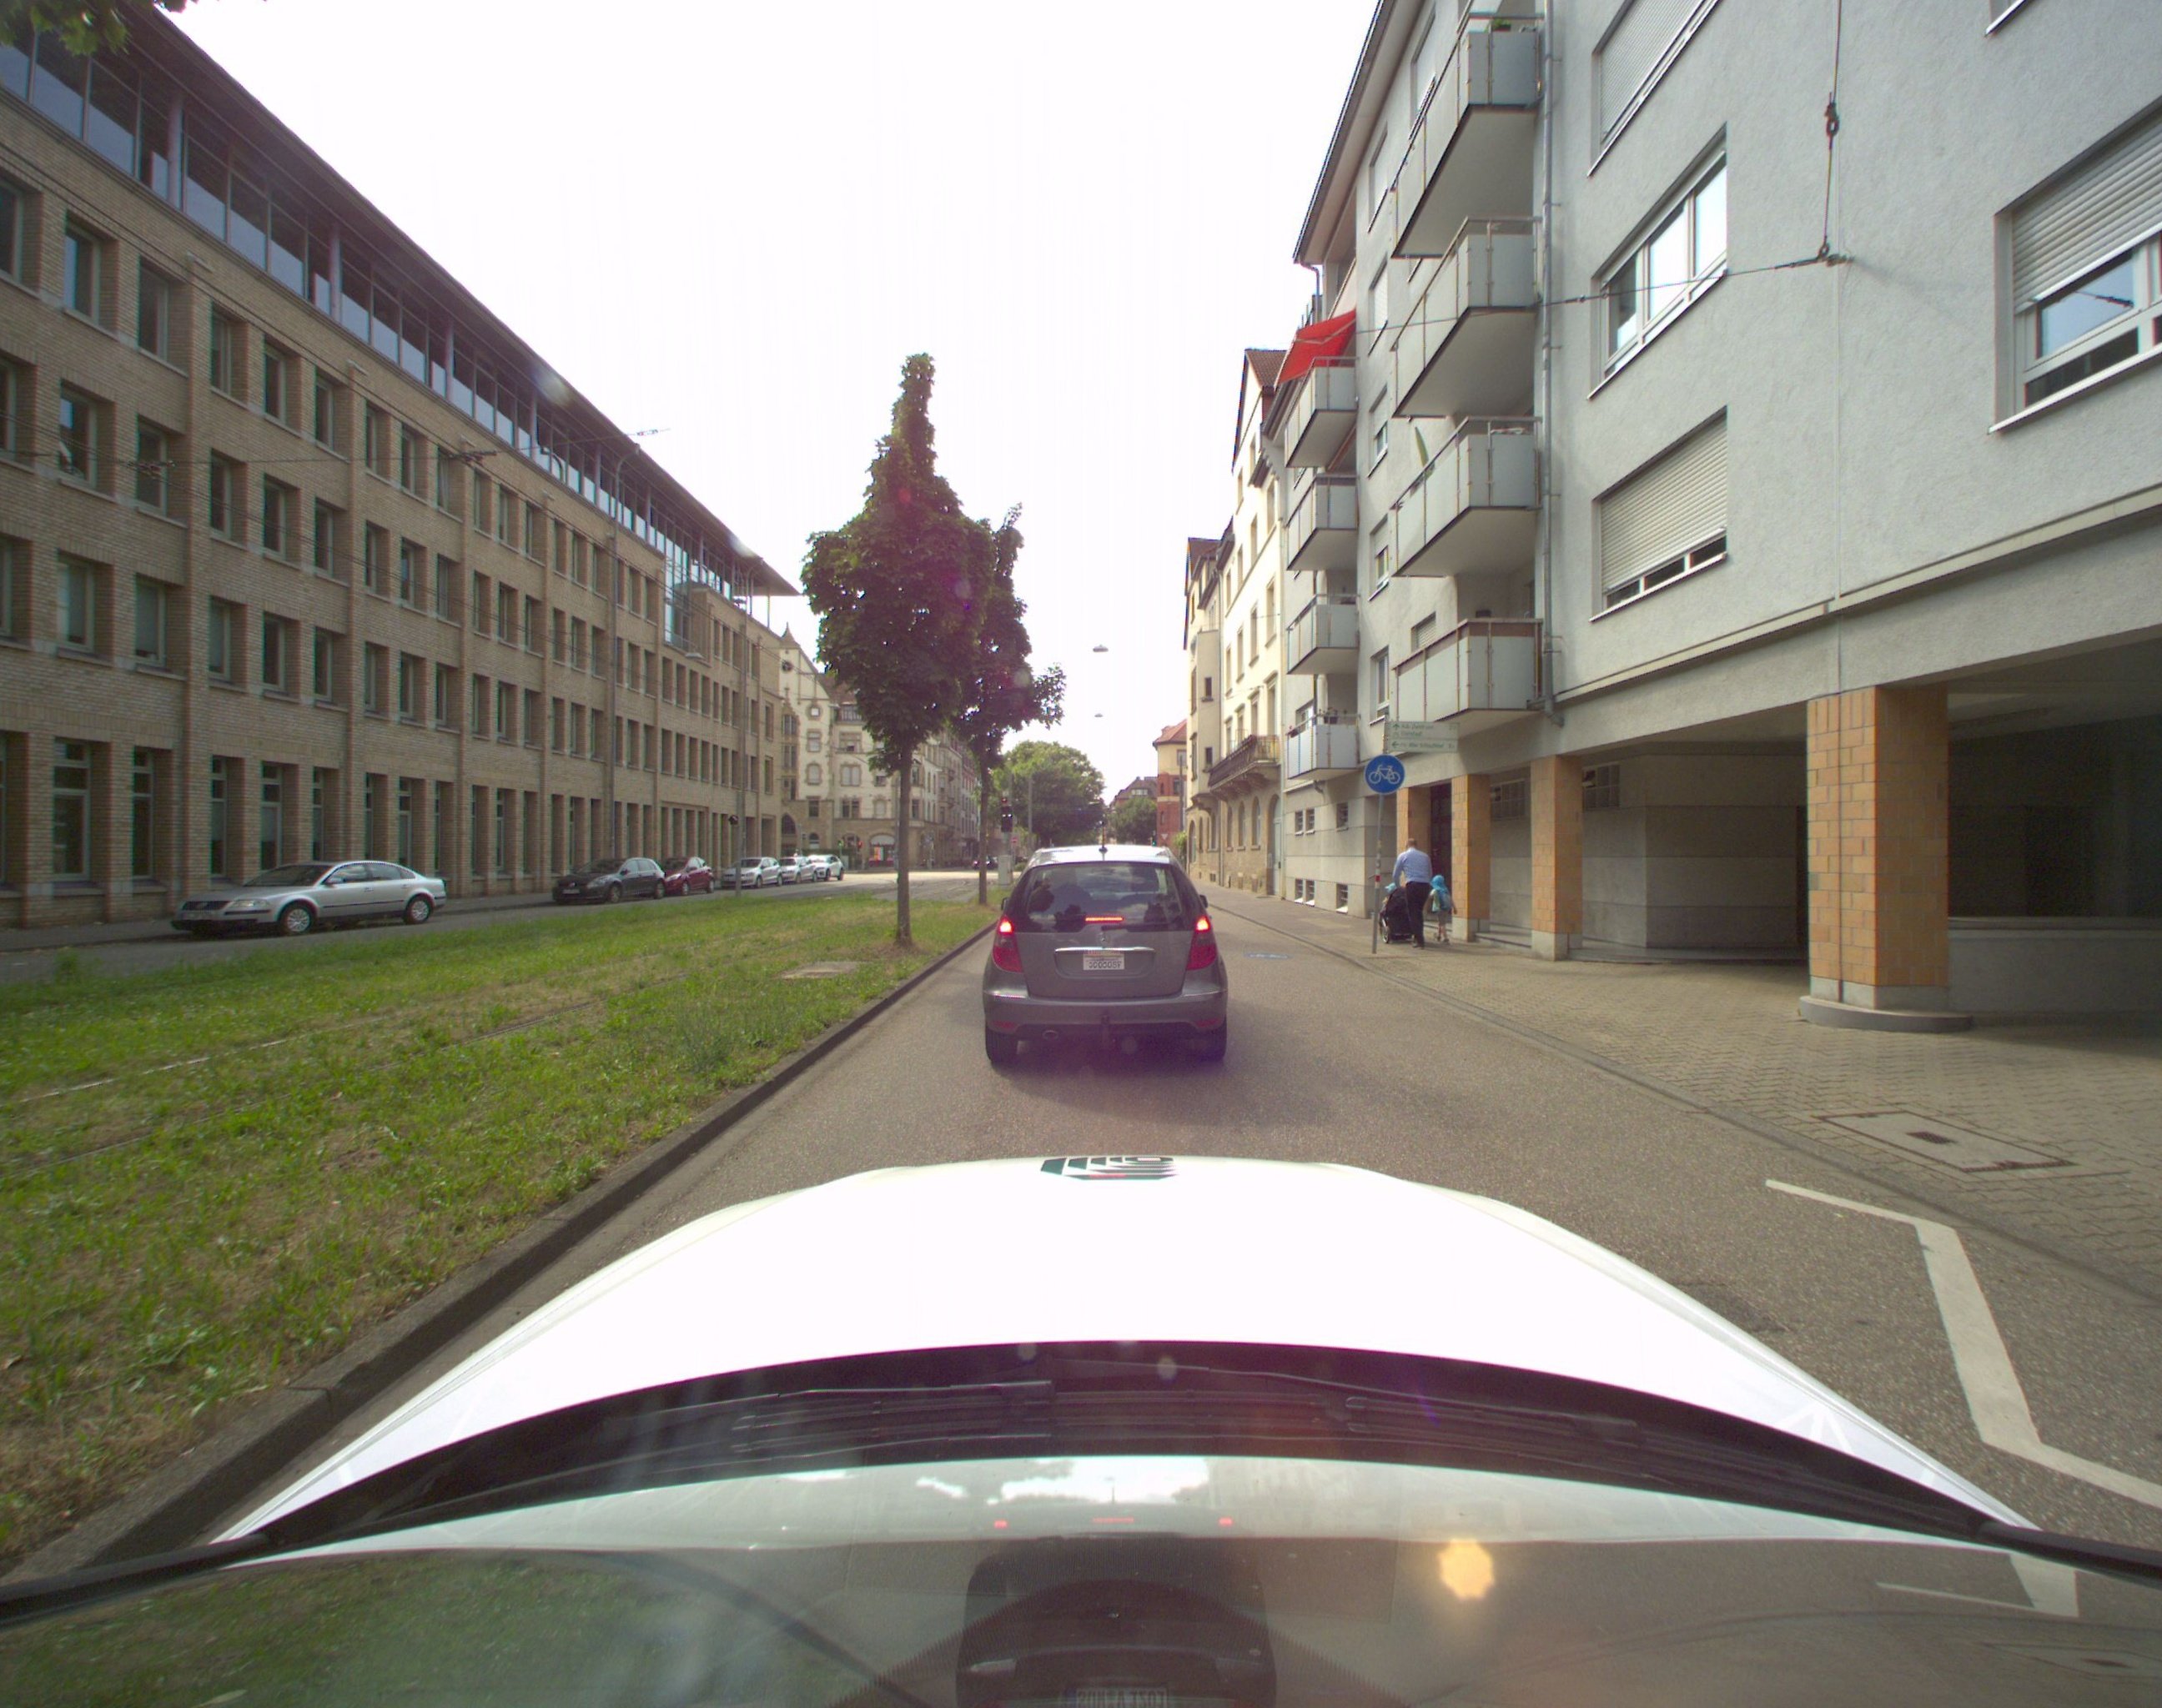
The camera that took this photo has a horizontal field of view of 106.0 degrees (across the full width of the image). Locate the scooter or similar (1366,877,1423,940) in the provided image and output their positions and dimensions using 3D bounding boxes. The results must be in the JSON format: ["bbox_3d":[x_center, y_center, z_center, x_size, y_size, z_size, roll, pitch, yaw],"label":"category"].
[{"bbox_3d":[5.398,0.924,14.064,0.590,1.002,0.906,-4,0,2],"label":"scooter or similar"}]

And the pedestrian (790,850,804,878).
[{"bbox_3d":[-18.383,0.655,52.642,0.763,1.795,0.952,0,-1,-24],"label":"pedestrian"}]

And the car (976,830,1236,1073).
[{"bbox_3d":[0.223,0.663,7.274,1.716,1.605,3.678,-1,0,2],"label":"car"}]

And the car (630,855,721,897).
[{"bbox_3d":[-15.396,0.800,31.117,1.577,1.530,3.551,0,0,2],"label":"car"}]

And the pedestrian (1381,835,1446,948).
[{"bbox_3d":[5.385,0.594,13.241,0.618,1.738,0.877,-4,0,2],"label":"pedestrian"}]

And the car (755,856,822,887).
[{"bbox_3d":[-15.368,0.886,43.028,1.925,1.530,4.016,0,0,2],"label":"car"}]

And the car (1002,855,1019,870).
[{"bbox_3d":[-8.444,1.042,97.619,1.990,1.728,3.994,-1,0,-4],"label":"car"}]

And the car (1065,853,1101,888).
[{"bbox_3d":[0.135,0.820,41.608,1.716,1.706,3.678,-1,0,2],"label":"car"}]

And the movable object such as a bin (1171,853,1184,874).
[{"bbox_3d":[7.057,0.700,59.485,0.714,1.472,0.980,-1,-1,-8],"label":"movable object such as a bin"}]

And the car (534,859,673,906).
[{"bbox_3d":[-15.400,0.872,26.565,1.925,1.396,4.241,0,0,2],"label":"car"}]

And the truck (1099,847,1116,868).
[{"bbox_3d":[3.831,0.498,117.026,2.113,2.970,4.005,-1,0,5],"label":"truck"}]

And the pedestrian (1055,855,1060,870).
[{"bbox_3d":[-2.732,0.947,94.005,0.492,1.725,0.652,0,-1,-7],"label":"pedestrian"}]

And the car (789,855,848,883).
[{"bbox_3d":[-15.227,0.842,47.538,1.925,1.535,4.260,0,0,2],"label":"car"}]

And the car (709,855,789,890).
[{"bbox_3d":[-15.277,0.827,37.721,1.844,1.530,4.212,0,0,2],"label":"car"}]

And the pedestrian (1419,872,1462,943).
[{"bbox_3d":[6.005,0.886,13.613,0.454,1.135,0.494,-3,0,1],"label":"pedestrian"}]

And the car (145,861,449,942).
[{"bbox_3d":[-15.471,0.847,16.501,1.708,1.396,4.486,0,0,2],"label":"car"}]

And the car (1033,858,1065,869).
[{"bbox_3d":[-3.924,1.121,98.860,1.984,1.339,3.954,0,0,-38],"label":"car"}]

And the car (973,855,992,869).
[{"bbox_3d":[-11.623,0.936,96.157,1.990,1.618,3.994,-1,0,-4],"label":"car"}]
